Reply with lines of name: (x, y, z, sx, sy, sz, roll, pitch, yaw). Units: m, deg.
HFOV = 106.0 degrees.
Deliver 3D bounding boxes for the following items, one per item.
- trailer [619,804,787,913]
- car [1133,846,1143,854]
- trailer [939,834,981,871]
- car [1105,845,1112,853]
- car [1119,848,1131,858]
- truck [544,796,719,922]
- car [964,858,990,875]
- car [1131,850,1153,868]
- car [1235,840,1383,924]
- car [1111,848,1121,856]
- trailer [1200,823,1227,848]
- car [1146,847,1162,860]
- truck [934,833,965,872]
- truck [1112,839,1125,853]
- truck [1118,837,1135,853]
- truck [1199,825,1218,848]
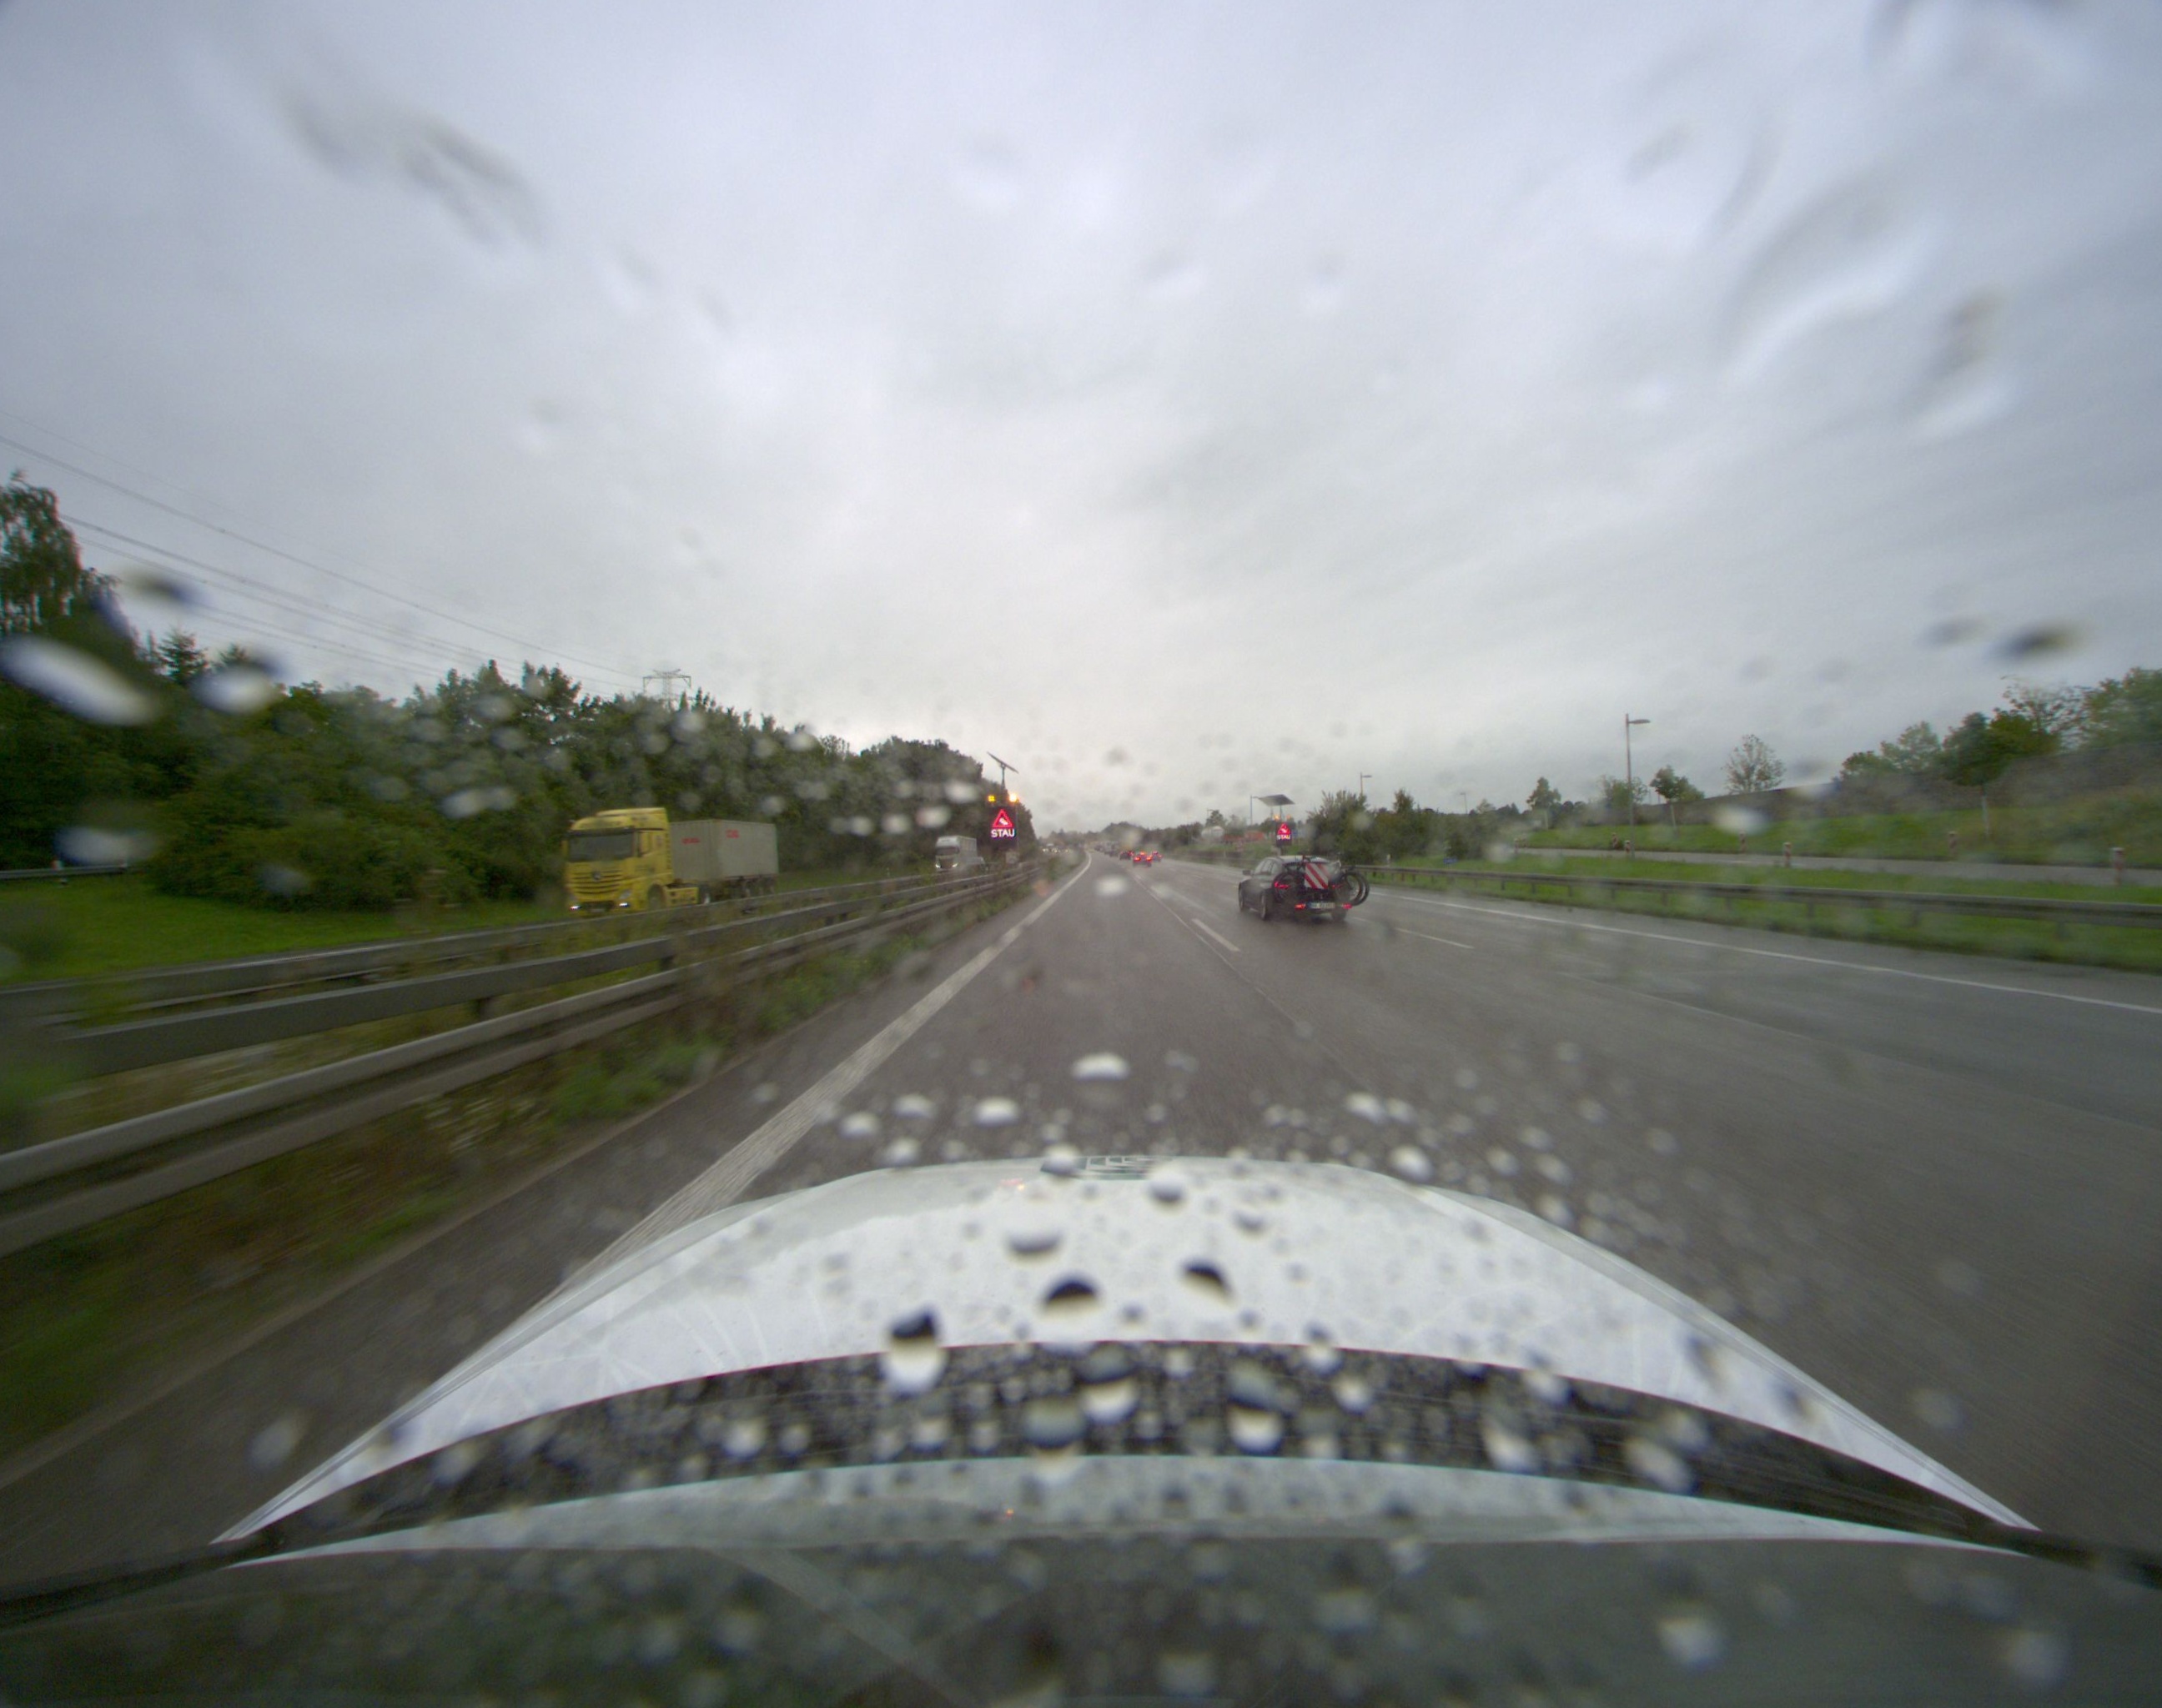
trailer: (-16.311, 0.153, 36.139, 2.752, 4.055, 9.203, -3, 0, 1)
car: (12.052, -0.796, 172.966, 1.986, 1.628, 4.001, -2, 0, 1)
trailer: (-14.789, -0.224, 100.846, 2.634, 4.237, 13.916, -2, 0, 2)
car: (7.936, -1.498, 236.571, 1.986, 2.205, 4.001, -2, 0, 1)
car: (7.661, -0.203, 141.370, 1.986, 1.628, 4.001, -2, 0, 1)
truck: (-16.449, 0.149, 30.401, 2.752, 4.055, 6.158, -3, 0, 1)
car: (-10.486, 1.252, 82.183, 1.868, 1.493, 4.516, -3, 0, 2)
car: (6.183, 0.507, 83.298, 1.986, 1.761, 4.001, -2, 0, 1)
car: (5.075, 0.597, 19.035, 2.050, 1.671, 5.523, 0, -1, 2)
car: (7.800, -0.514, 182.431, 1.986, 1.628, 4.001, -2, 0, 1)
trailer: (24.617, -3.362, 151.702, 2.974, 4.156, 12.959, -2, 0, 1)
car: (10.715, -0.055, 119.499, 1.986, 1.761, 4.001, -2, 0, 1)
truck: (-15.018, -0.190, 93.105, 2.634, 4.237, 4.001, -2, 0, 1)
truck: (11.917, -2.510, 260.545, 3.910, 3.981, 12.242, -2, 0, 1)
truck: (12.006, -2.303, 214.079, 3.910, 3.981, 12.242, -2, 0, 1)
truck: (24.789, -3.376, 158.734, 2.938, 4.145, 4.924, -2, 0, 1)
